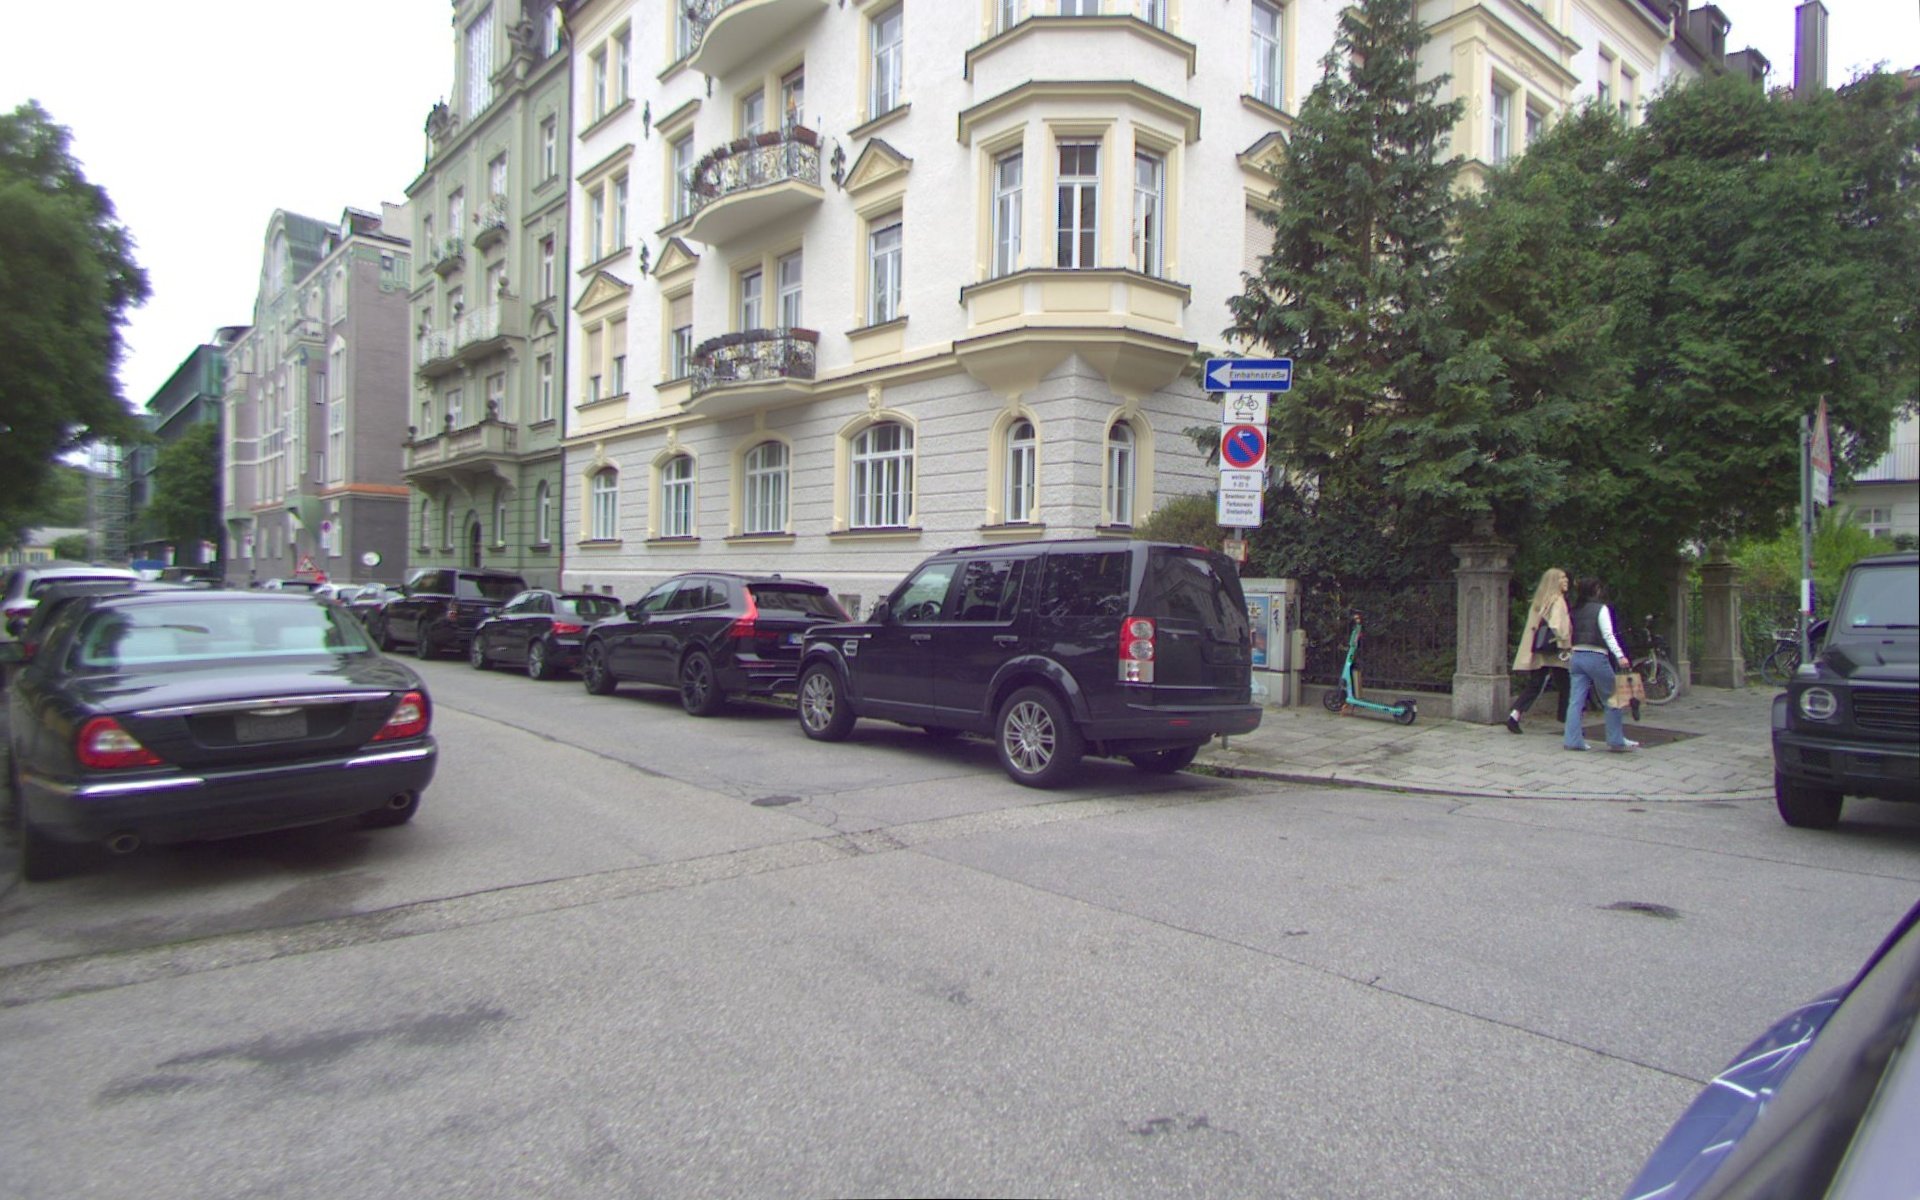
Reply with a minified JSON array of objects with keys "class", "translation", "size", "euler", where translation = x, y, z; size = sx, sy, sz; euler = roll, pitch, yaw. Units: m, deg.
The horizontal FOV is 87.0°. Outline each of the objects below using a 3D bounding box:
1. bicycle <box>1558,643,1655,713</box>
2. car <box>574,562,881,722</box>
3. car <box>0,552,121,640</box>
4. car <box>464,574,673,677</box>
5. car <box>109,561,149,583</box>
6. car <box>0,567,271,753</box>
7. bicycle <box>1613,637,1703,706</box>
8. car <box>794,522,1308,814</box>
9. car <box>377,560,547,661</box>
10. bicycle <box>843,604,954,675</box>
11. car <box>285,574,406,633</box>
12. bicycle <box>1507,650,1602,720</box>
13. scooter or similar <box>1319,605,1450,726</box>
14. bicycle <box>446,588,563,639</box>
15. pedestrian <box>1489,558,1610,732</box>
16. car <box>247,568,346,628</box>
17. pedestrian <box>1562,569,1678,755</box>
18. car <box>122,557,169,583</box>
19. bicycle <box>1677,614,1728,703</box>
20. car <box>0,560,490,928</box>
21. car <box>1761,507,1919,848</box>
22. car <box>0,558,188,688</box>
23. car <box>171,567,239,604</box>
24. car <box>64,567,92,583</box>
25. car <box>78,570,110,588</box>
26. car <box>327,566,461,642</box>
[{"class":"bicycle","translation":[7.795,0.922,12.186],"size":[1.328,0.744,0.514],"euler":[0,1,-35]},{"class":"car","translation":[-3.114,0.418,12.954],"size":[1.930,1.670,4.242],"euler":[3,0,-43]},{"class":"car","translation":[-20.400,-0.149,22.779],"size":[1.978,1.800,4.372],"euler":[-1,2,-44]},{"class":"car","translation":[-6.699,0.373,17.097],"size":[1.930,1.459,4.106],"euler":[2,0,-42]},{"class":"car","translation":[-64.474,-2.204,78.494],"size":[1.968,1.641,4.596],"euler":[-1,2,-44]},{"class":"car","translation":[-8.606,0.419,10.524],"size":[1.889,1.501,4.602],"euler":[-1,2,-41]},{"class":"bicycle","translation":[8.962,0.896,12.985],"size":[1.328,0.791,0.514],"euler":[0,1,-35]},{"class":"car","translation":[0.559,0.412,9.186],"size":[1.871,1.975,4.536],"euler":[3,0,-42]},{"class":"car","translation":[-10.042,0.158,20.260],"size":[1.930,1.776,4.243],"euler":[3,0,-42]},{"class":"bicycle","translation":[-1.109,0.652,17.721],"size":[0.529,1.119,2.408],"euler":[1,0,-43]},{"class":"car","translation":[-17.152,0.074,28.150],"size":[1.931,1.424,4.240],"euler":[2,0,-44]},{"class":"bicycle","translation":[6.721,0.944,11.435],"size":[1.102,0.691,0.514],"euler":[0,1,-35]},{"class":"scooter or similar","translation":[4.694,0.690,11.269],"size":[0.364,1.204,1.352],"euler":[0,2,-33]},{"class":"bicycle","translation":[-13.357,0.358,29.658],"size":[2.466,1.283,2.469],"euler":[-4,3,-42]},{"class":"pedestrian","translation":[6.089,0.444,10.490],"size":[0.722,1.723,0.697],"euler":[2,3,-7]},{"class":"car","translation":[-20.723,-0.077,31.547],"size":[1.930,1.670,4.243],"euler":[3,0,-42]},{"class":"pedestrian","translation":[6.238,0.549,9.573],"size":[0.696,1.648,0.688],"euler":[0,3,-40]},{"class":"car","translation":[-52.408,-1.922,65.087],"size":[1.968,1.641,4.596],"euler":[-1,2,-44]},{"class":"bicycle","translation":[9.982,0.758,13.622],"size":[0.511,1.108,1.337],"euler":[1,1,36]},{"class":"car","translation":[-4.893,0.516,6.520],"size":[1.835,1.501,4.915],"euler":[-1,2,-45]},{"class":"car","translation":[7.552,0.493,7.076],"size":[4.578,1.979,1.956],"euler":[1,-1,-37]},{"class":"car","translation":[-13.022,0.228,15.060],"size":[1.967,1.641,4.598],"euler":[-1,2,-43]},{"class":"car","translation":[-35.072,-0.693,46.963],"size":[1.968,1.641,4.596],"euler":[-1,2,-44]},{"class":"car","translation":[-94.194,-2.630,108.087],"size":[1.967,1.641,4.596],"euler":[0,1,-44]},{"class":"car","translation":[-80.886,-1.976,94.484],"size":[1.968,1.641,4.596],"euler":[-1,2,-44]},{"class":"car","translation":[-13.963,0.070,24.855],"size":[1.930,1.670,4.243],"euler":[3,0,-42]}]
